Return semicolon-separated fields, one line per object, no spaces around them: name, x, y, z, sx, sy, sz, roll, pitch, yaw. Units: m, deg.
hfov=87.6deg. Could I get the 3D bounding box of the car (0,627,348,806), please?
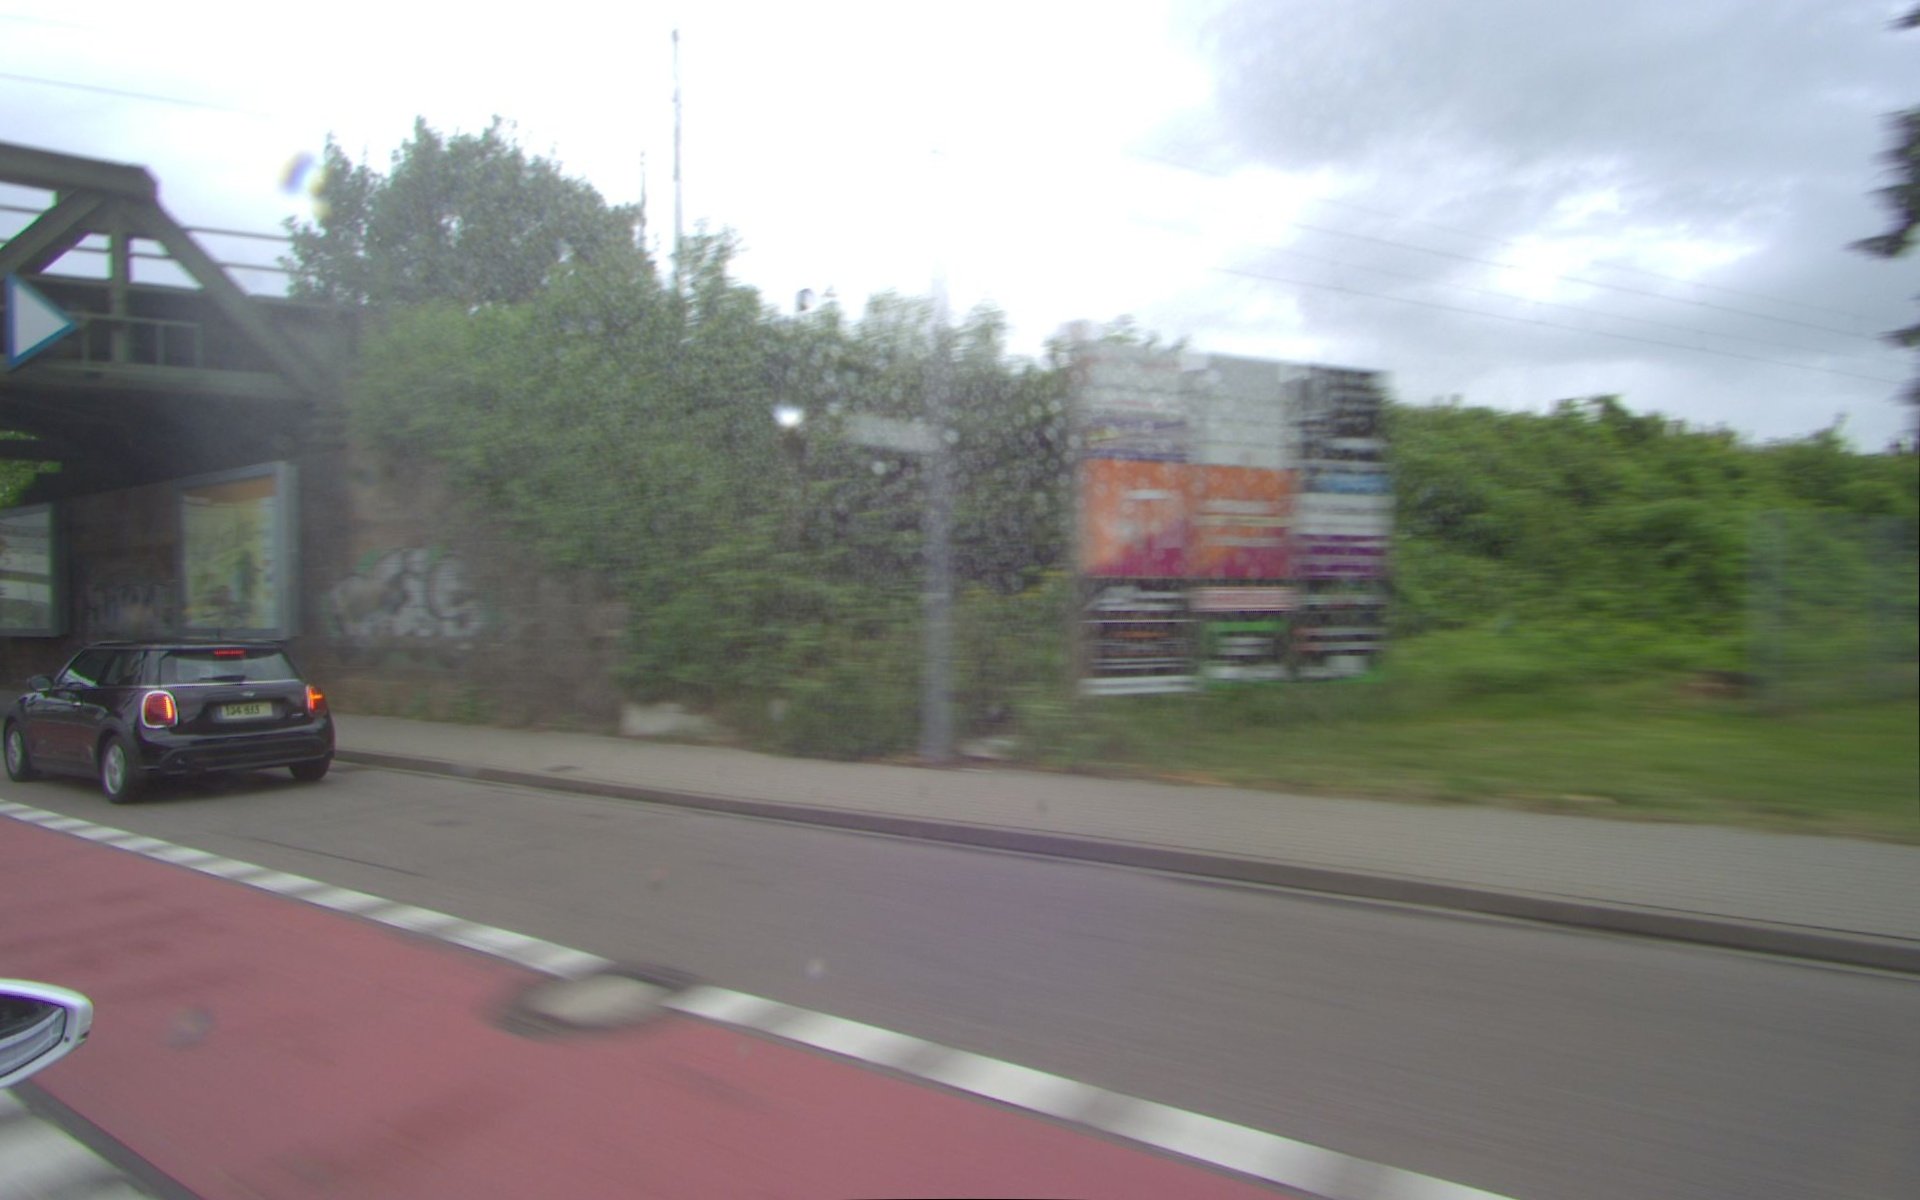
car;-7.971;1.014;10.008;3.719;1.450;1.676;0;-1;32
